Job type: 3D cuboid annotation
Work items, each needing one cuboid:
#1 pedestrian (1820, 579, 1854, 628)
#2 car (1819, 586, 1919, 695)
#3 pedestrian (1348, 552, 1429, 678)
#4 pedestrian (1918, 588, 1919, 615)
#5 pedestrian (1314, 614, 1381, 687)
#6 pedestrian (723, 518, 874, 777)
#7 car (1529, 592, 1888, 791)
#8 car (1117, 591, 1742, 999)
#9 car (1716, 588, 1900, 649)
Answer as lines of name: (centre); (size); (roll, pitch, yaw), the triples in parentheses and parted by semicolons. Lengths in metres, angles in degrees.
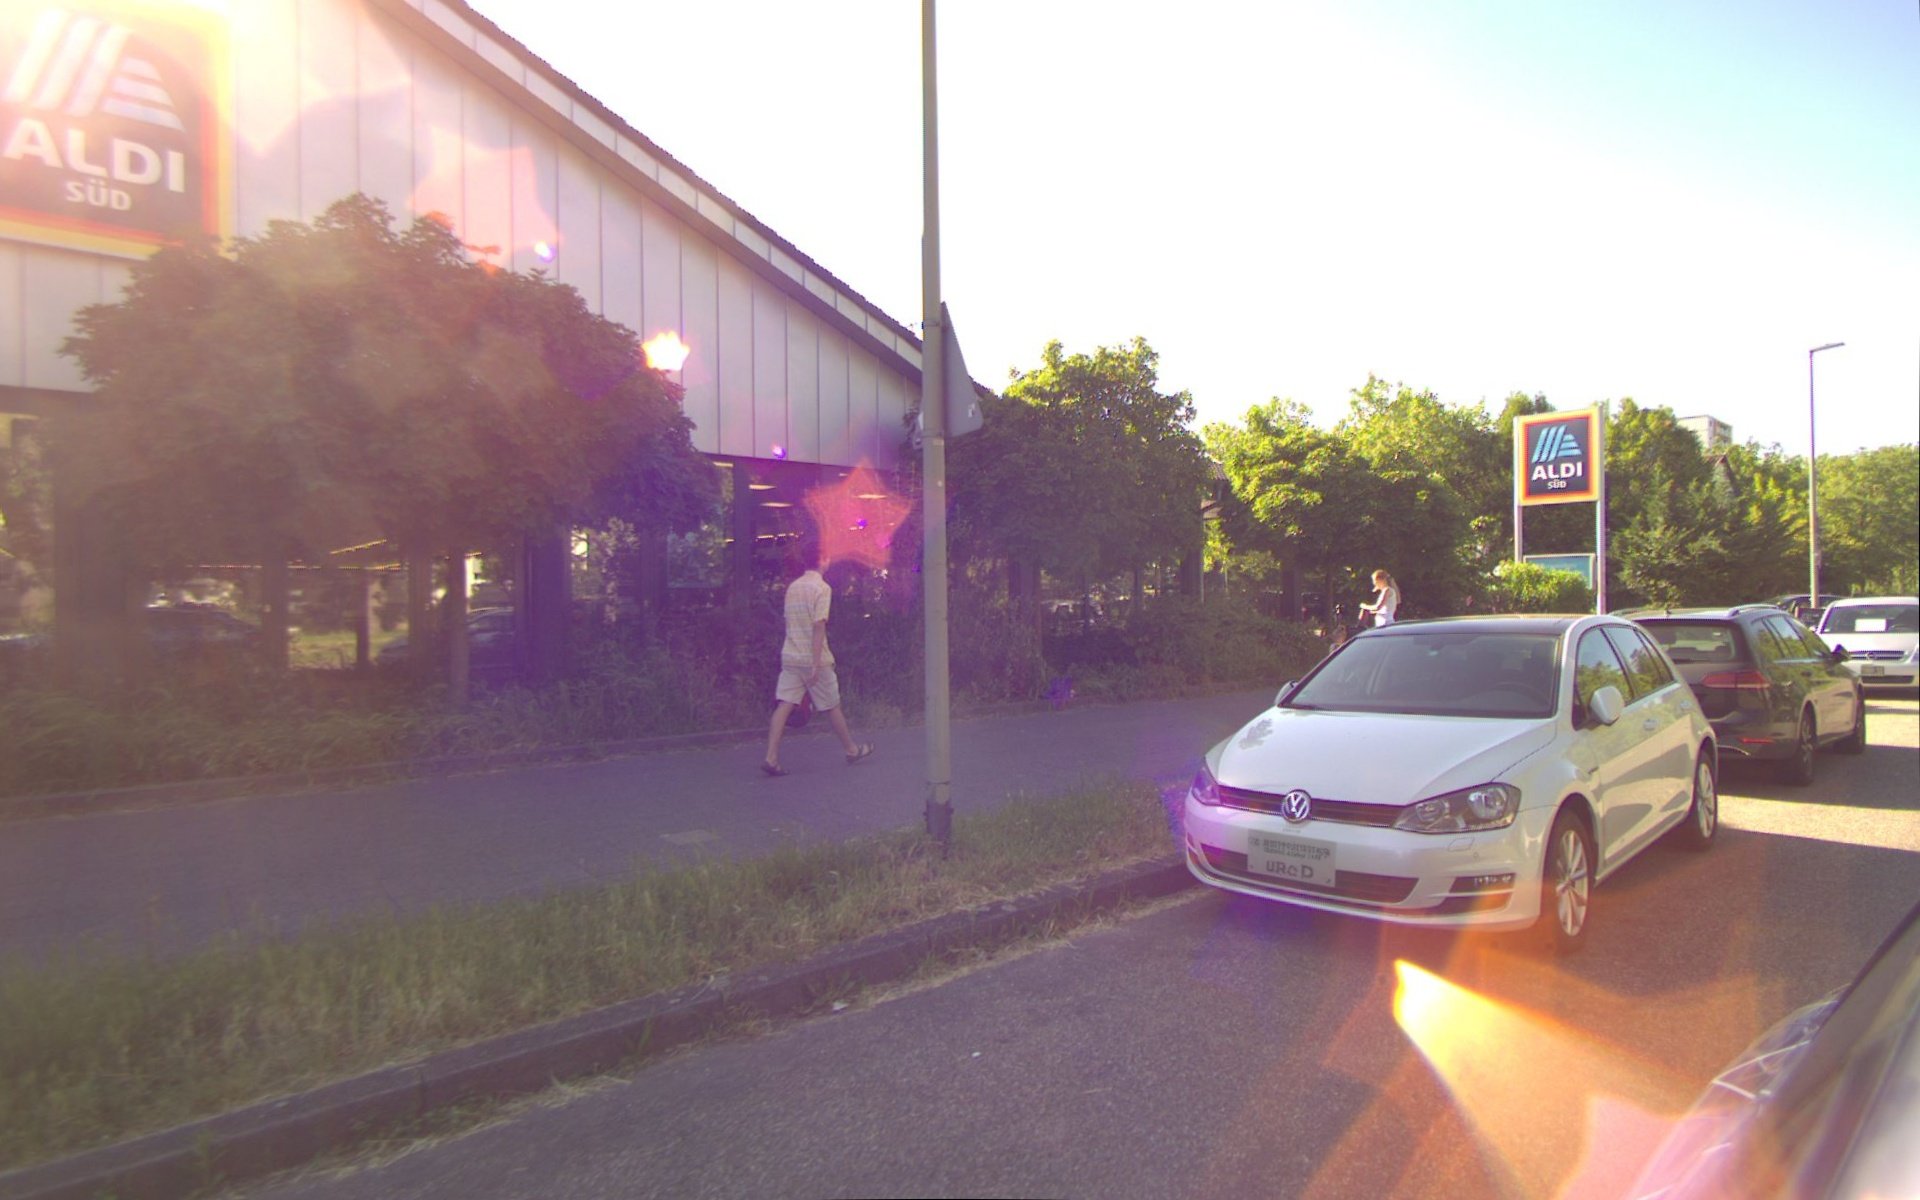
pedestrian: (31.601, 0.114, 36.459); (0.968, 1.738, 0.804); (-2, 3, -44)
car: (15.648, 0.588, 16.864); (3.962, 1.619, 1.680); (-1, 0, -45)
pedestrian: (6.338, 0.212, 14.978); (0.793, 1.804, 0.801); (0, 0, -33)
pedestrian: (59.479, 0.103, 62.310); (0.629, 1.659, 0.641); (0, 0, -38)
pedestrian: (5.596, 0.712, 14.615); (0.794, 0.993, 0.534); (0, 0, -33)
pedestrian: (-1.266, 0.344, 7.965); (0.793, 1.885, 0.861); (-1, -1, 42)
car: (7.188, 0.668, 9.548); (4.287, 1.462, 1.810); (0, 0, -41)
car: (2.853, 0.708, 5.725); (3.932, 1.470, 1.828); (-1, 0, -42)
car: (24.559, 0.501, 29.478); (3.716, 1.666, 1.840); (0, 0, 25)
